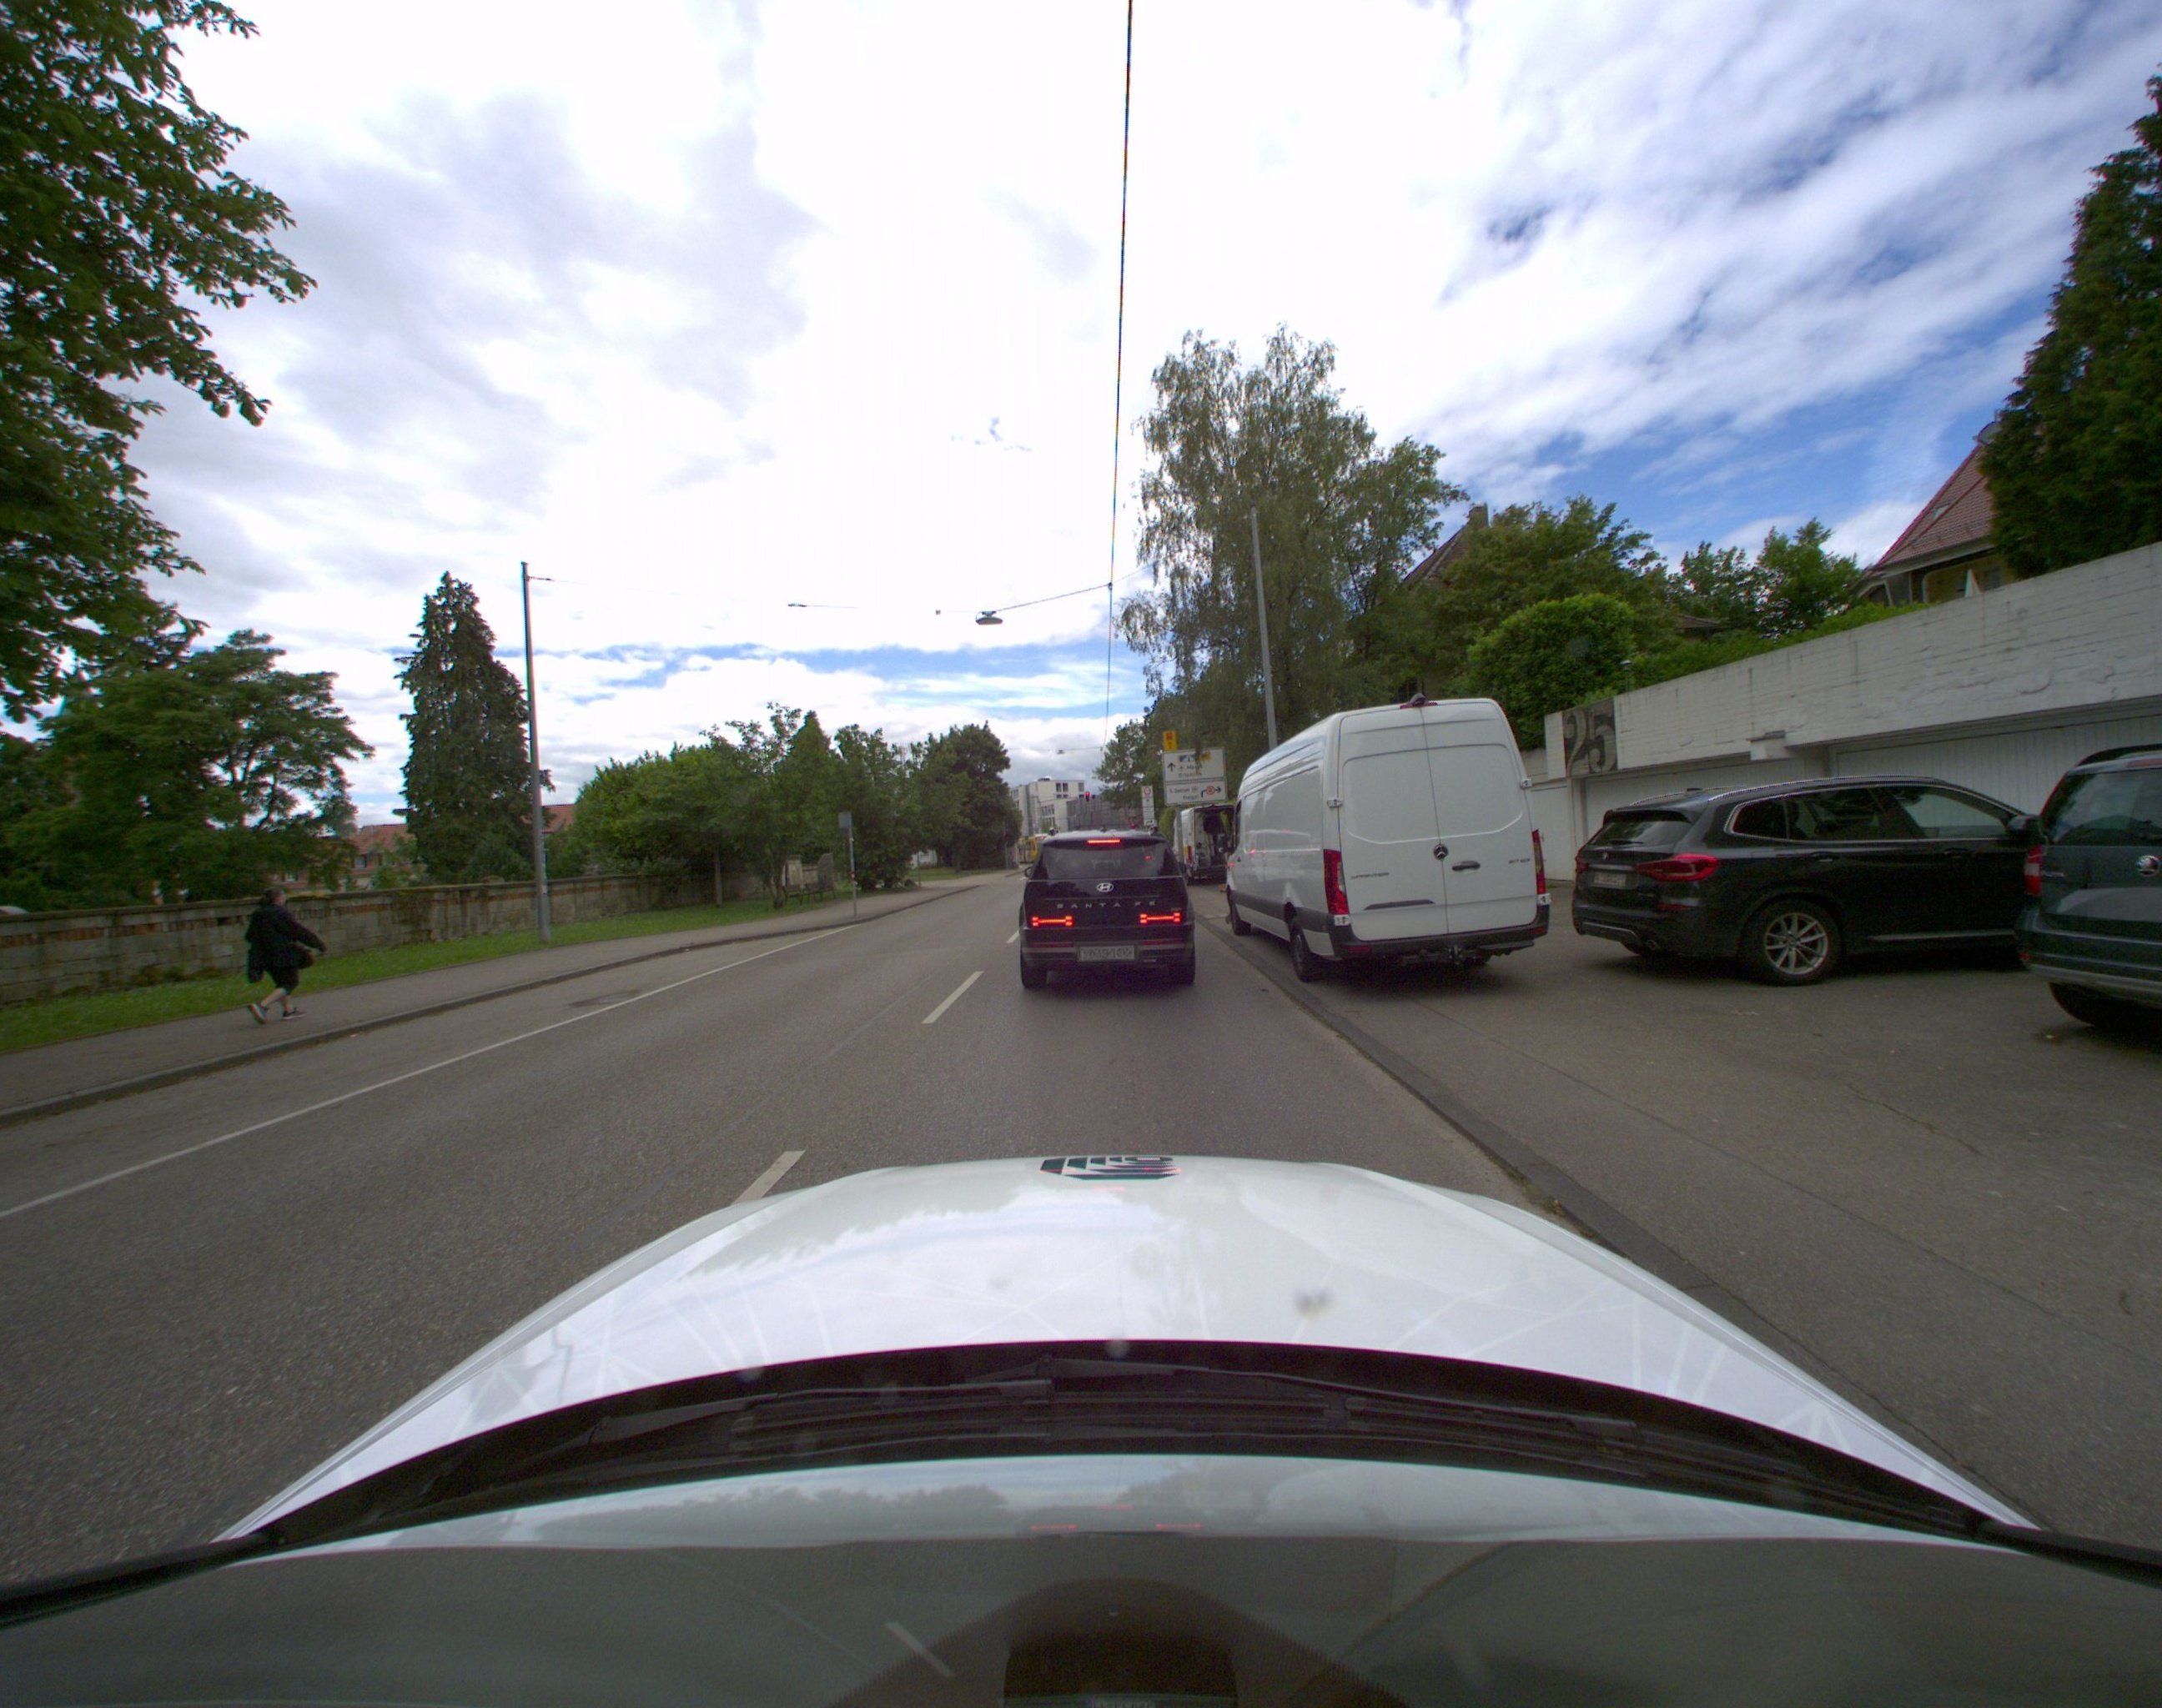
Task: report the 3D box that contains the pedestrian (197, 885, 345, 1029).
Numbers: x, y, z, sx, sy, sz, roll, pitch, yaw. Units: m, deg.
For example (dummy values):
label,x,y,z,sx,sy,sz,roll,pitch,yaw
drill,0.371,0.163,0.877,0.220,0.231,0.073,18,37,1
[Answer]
label,x,y,z,sx,sy,sz,roll,pitch,yaw
pedestrian,-9.657,1.190,9.753,0.746,1.578,0.967,-2,0,1

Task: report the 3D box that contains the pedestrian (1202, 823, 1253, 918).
label,x,y,z,sx,sy,sz,roll,pitch,yaw
pedestrian,2.829,0.308,15.730,0.618,1.743,0.603,-6,0,-11

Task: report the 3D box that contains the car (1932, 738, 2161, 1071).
label,x,y,z,sx,sy,sz,roll,pitch,yaw
car,7.220,0.128,4.082,3.780,1.652,1.832,-4,0,5

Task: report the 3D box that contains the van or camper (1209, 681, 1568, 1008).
label,x,y,z,sx,sy,sz,roll,pitch,yaw
van or camper,3.143,-0.103,10.171,1.957,2.627,6.360,-5,0,1

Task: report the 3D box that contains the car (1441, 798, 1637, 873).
label,x,y,z,sx,sy,sz,roll,pitch,yaw
car,11.793,-0.474,21.156,3.975,1.711,1.969,-2,0,-1

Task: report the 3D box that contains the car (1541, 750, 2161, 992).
label,x,y,z,sx,sy,sz,roll,pitch,yaw
car,6.902,0.119,7.349,4.376,1.652,1.831,-4,0,2

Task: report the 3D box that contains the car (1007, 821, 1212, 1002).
label,x,y,z,sx,sy,sz,roll,pitch,yaw
car,0.317,0.554,10.031,1.957,1.711,4.001,-2,0,1

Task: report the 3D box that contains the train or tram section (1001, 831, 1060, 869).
label,x,y,z,sx,sy,sz,roll,pitch,yaw
train or tram section,-7.262,-0.357,112.387,3.203,4.523,18.560,-1,-1,-19

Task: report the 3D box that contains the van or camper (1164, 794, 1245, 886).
label,x,y,z,sx,sy,sz,roll,pitch,yaw
van or camper,4.271,-0.472,28.987,1.957,2.797,5.288,-5,0,1

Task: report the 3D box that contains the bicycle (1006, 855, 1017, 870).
label,x,y,z,sx,sy,sz,roll,pitch,yaw
bicycle,-6.170,0.757,71.998,0.675,1.279,2.490,-2,-1,-12

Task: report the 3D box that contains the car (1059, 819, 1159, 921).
label,x,y,z,sx,sy,sz,roll,pitch,yaw
car,0.596,0.317,18.513,1.957,2.001,4.001,-2,0,1

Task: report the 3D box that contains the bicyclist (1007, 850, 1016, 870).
label,x,y,z,sx,sy,sz,roll,pitch,yaw
bicyclist,-6.177,0.536,72.033,0.676,1.659,0.855,-1,-2,-12
